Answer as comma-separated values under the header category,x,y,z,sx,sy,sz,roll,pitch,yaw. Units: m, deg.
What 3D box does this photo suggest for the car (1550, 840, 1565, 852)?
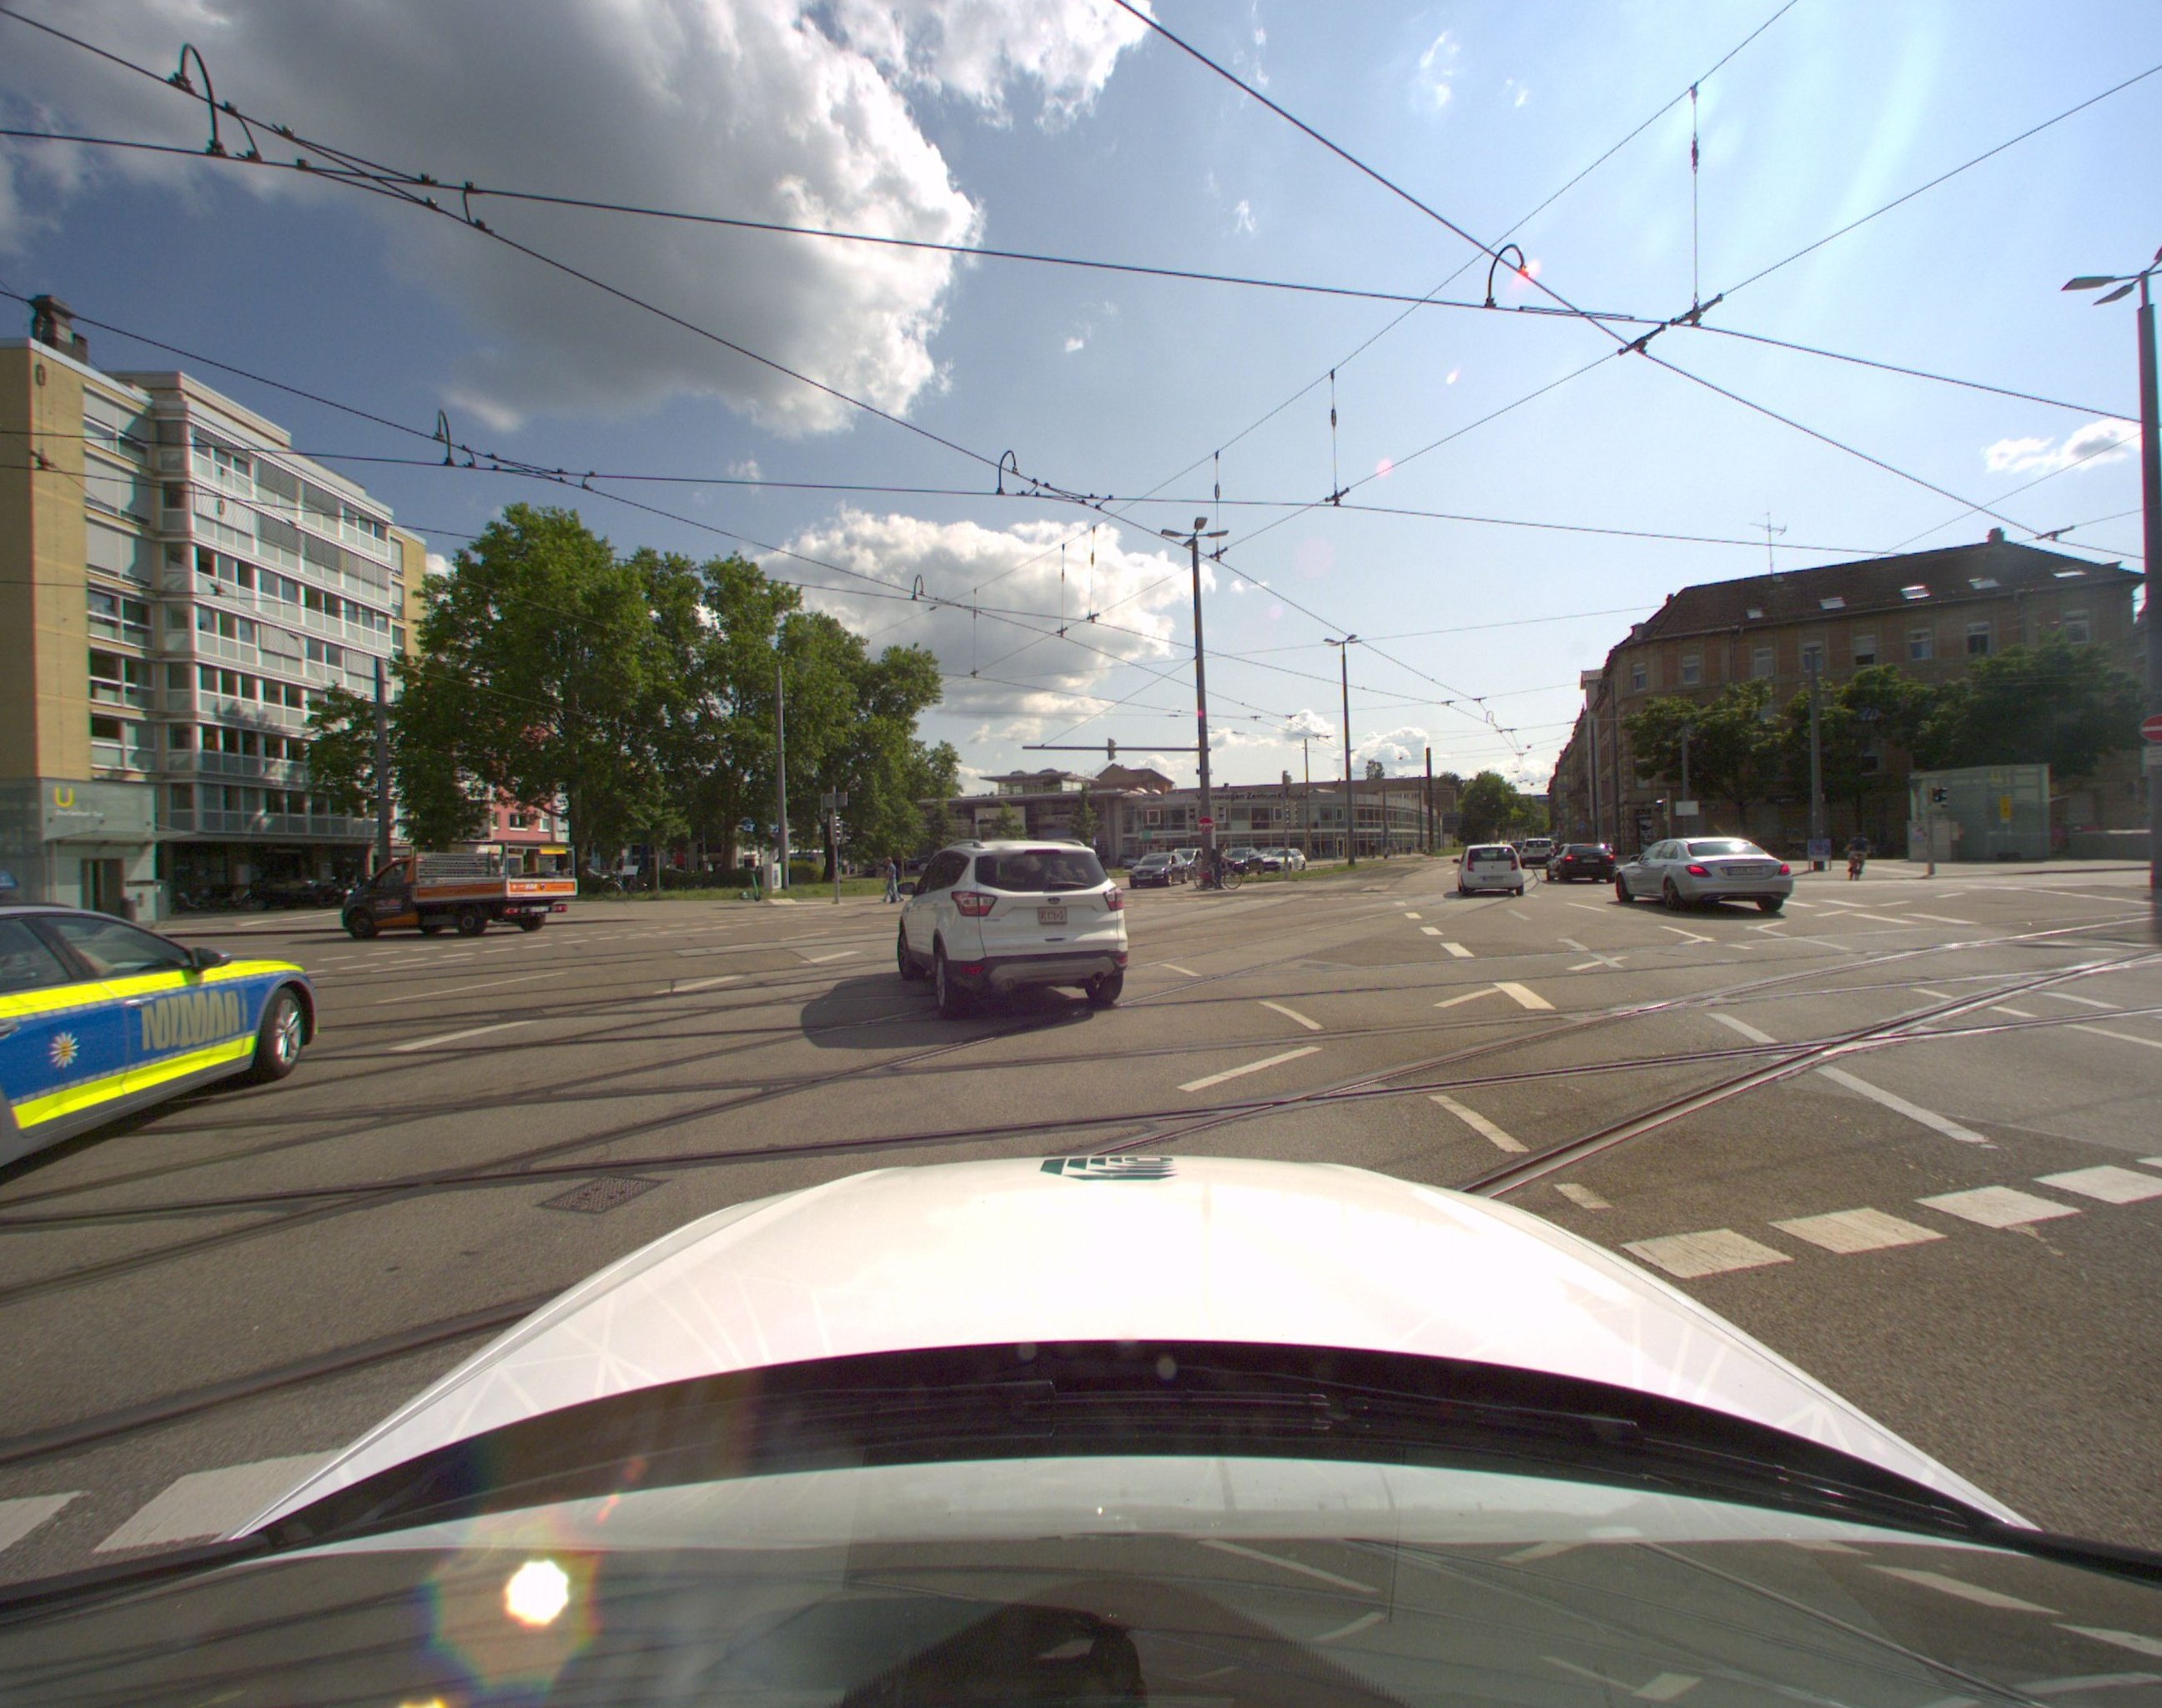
category,x,y,z,sx,sy,sz,roll,pitch,yaw
car,66.948,-1.106,114.474,1.819,1.652,4.025,-1,-1,30

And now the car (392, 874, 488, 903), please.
category,x,y,z,sx,sy,sz,roll,pitch,yaw
car,-37.461,1.995,47.676,3.981,1.495,1.799,-2,0,-6

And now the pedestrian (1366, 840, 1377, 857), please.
category,x,y,z,sx,sy,sz,roll,pitch,yaw
pedestrian,31.545,-0.592,88.519,0.881,1.737,0.867,1,-1,-45

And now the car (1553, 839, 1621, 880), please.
category,x,y,z,sx,sy,sz,roll,pitch,yaw
car,18.363,0.172,29.705,1.683,1.372,4.157,-2,0,26

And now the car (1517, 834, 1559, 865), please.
category,x,y,z,sx,sy,sz,roll,pitch,yaw
car,25.717,-0.212,45.919,1.819,1.652,4.024,-1,0,27

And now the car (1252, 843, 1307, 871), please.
category,x,y,z,sx,sy,sz,roll,pitch,yaw
car,11.612,0.159,47.518,1.881,1.461,3.994,-3,-1,32

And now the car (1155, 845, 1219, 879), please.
category,x,y,z,sx,sy,sz,roll,pitch,yaw
car,5.627,0.382,42.758,1.720,1.573,4.026,-3,0,32

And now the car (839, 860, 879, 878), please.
category,x,y,z,sx,sy,sz,roll,pitch,yaw
car,-25.197,1.691,92.544,3.955,1.790,1.850,-3,-1,17

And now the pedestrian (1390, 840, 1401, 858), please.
category,x,y,z,sx,sy,sz,roll,pitch,yaw
pedestrian,35.518,-0.559,92.055,0.867,1.922,0.881,0,-1,43

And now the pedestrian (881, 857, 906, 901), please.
category,x,y,z,sx,sy,sz,roll,pitch,yaw
pedestrian,-7.472,0.982,32.435,0.925,1.744,0.586,0,0,-16

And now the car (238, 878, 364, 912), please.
category,x,y,z,sx,sy,sz,roll,pitch,yaw
car,-36.070,1.868,37.741,3.982,1.398,1.669,-1,-1,-6

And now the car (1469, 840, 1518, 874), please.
category,x,y,z,sx,sy,sz,roll,pitch,yaw
car,18.306,0.121,36.067,1.832,1.419,3.701,-1,0,28

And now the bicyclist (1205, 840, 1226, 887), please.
category,x,y,z,sx,sy,sz,roll,pitch,yaw
bicyclist,4.957,0.345,30.076,0.654,1.738,0.642,-1,0,17

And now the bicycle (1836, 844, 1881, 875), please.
category,x,y,z,sx,sy,sz,roll,pitch,yaw
bicycle,26.417,0.182,27.702,0.838,0.970,1.973,-2,0,36

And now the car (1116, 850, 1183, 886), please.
category,x,y,z,sx,sy,sz,roll,pitch,yaw
car,2.979,0.569,34.895,1.722,1.373,3.662,-3,0,24

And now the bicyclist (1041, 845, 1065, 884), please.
category,x,y,z,sx,sy,sz,roll,pitch,yaw
bicyclist,-1.260,0.479,36.425,0.752,1.683,0.765,-3,0,24

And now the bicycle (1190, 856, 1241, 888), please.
category,x,y,z,sx,sy,sz,roll,pitch,yaw
bicycle,4.964,0.663,30.045,1.764,1.125,0.642,-1,0,17

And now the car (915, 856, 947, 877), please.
category,x,y,z,sx,sy,sz,roll,pitch,yaw
car,-15.165,1.282,82.709,1.958,1.937,4.238,-3,-1,6

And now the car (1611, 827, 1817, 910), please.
category,x,y,z,sx,sy,sz,roll,pitch,yaw
car,12.934,0.228,17.053,1.915,1.455,4.782,-2,1,18

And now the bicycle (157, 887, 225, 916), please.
category,x,y,z,sx,sy,sz,roll,pitch,yaw
bicycle,-37.490,1.995,34.315,1.803,1.147,0.794,-1,0,-9

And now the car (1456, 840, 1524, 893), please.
category,x,y,z,sx,sy,sz,roll,pitch,yaw
car,12.271,0.322,24.589,1.634,1.422,4.023,-2,0,24

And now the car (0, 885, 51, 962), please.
category,x,y,z,sx,sy,sz,roll,pitch,yaw
car,-23.213,1.457,16.081,3.962,1.474,1.859,-2,0,10

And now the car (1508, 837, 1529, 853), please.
category,x,y,z,sx,sy,sz,roll,pitch,yaw
car,46.458,-0.929,86.495,1.819,1.652,4.025,-1,-1,30

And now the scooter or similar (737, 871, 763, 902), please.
category,x,y,z,sx,sy,sz,roll,pitch,yaw
scooter or similar,-13.239,1.275,32.566,1.160,1.194,0.402,0,-1,35

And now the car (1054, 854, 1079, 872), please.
category,x,y,z,sx,sy,sz,roll,pitch,yaw
car,-1.351,0.867,78.461,1.809,1.534,3.923,-3,-1,6

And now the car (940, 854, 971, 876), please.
category,x,y,z,sx,sy,sz,roll,pitch,yaw
car,-12.607,1.117,82.021,1.984,2.014,4.237,-3,-1,6

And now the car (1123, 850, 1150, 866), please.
category,x,y,z,sx,sy,sz,roll,pitch,yaw
car,5.654,0.417,83.075,1.804,1.534,3.935,-3,-1,18

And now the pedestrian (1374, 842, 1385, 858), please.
category,x,y,z,sx,sy,sz,roll,pitch,yaw
pedestrian,33.049,-0.477,90.160,0.881,1.737,0.867,1,-1,-45

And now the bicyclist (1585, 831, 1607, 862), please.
category,x,y,z,sx,sy,sz,roll,pitch,yaw
bicyclist,24.408,-0.365,38.632,0.604,1.451,0.776,-2,0,11

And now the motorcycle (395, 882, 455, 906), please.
category,x,y,z,sx,sy,sz,roll,pitch,yaw
motorcycle,-30.065,1.829,37.362,2.056,0.917,0.801,-3,1,-43

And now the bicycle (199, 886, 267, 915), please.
category,x,y,z,sx,sy,sz,roll,pitch,yaw
bicycle,-37.001,2.013,35.559,1.942,1.147,0.794,-1,0,-9

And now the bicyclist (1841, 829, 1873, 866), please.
category,x,y,z,sx,sy,sz,roll,pitch,yaw
bicyclist,26.454,-0.217,27.777,0.628,1.220,0.930,-3,0,37

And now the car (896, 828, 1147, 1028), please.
category,x,y,z,sx,sy,sz,roll,pitch,yaw
car,-0.911,0.651,9.130,1.833,1.664,3.930,-2,0,-19

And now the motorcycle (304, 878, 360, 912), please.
category,x,y,z,sx,sy,sz,roll,pitch,yaw
motorcycle,-29.800,1.633,32.394,2.190,1.238,0.911,-2,1,27

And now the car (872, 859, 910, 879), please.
category,x,y,z,sx,sy,sz,roll,pitch,yaw
car,-19.587,1.501,84.314,1.956,1.937,5.081,-3,-1,9

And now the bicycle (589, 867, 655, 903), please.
category,x,y,z,sx,sy,sz,roll,pitch,yaw
bicycle,-18.894,1.253,33.547,2.165,1.414,0.811,-1,1,-6

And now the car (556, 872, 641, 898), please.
category,x,y,z,sx,sy,sz,roll,pitch,yaw
car,-27.755,1.780,46.882,3.965,1.327,1.637,-2,-1,7

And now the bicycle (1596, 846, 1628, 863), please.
category,x,y,z,sx,sy,sz,roll,pitch,yaw
bicycle,25.097,0.029,38.517,0.582,0.775,1.624,-2,0,6

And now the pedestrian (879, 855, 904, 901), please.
category,x,y,z,sx,sy,sz,roll,pitch,yaw
pedestrian,-7.276,0.897,31.257,0.926,1.744,0.586,0,0,-16

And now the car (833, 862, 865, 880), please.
category,x,y,z,sx,sy,sz,roll,pitch,yaw
car,-25.080,1.825,87.997,1.852,1.790,3.952,-1,-2,-41

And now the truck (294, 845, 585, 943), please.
category,x,y,z,sx,sy,sz,roll,pitch,yaw
truck,-15.639,0.958,19.979,5.793,2.155,2.354,-2,0,12

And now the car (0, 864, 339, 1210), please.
category,x,y,z,sx,sy,sz,roll,pitch,yaw
car,-6.184,0.871,4.267,1.888,1.568,4.580,-2,0,-22

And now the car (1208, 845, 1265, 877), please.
category,x,y,z,sx,sy,sz,roll,pitch,yaw
car,7.986,0.343,41.604,1.673,1.461,3.993,-3,0,28
